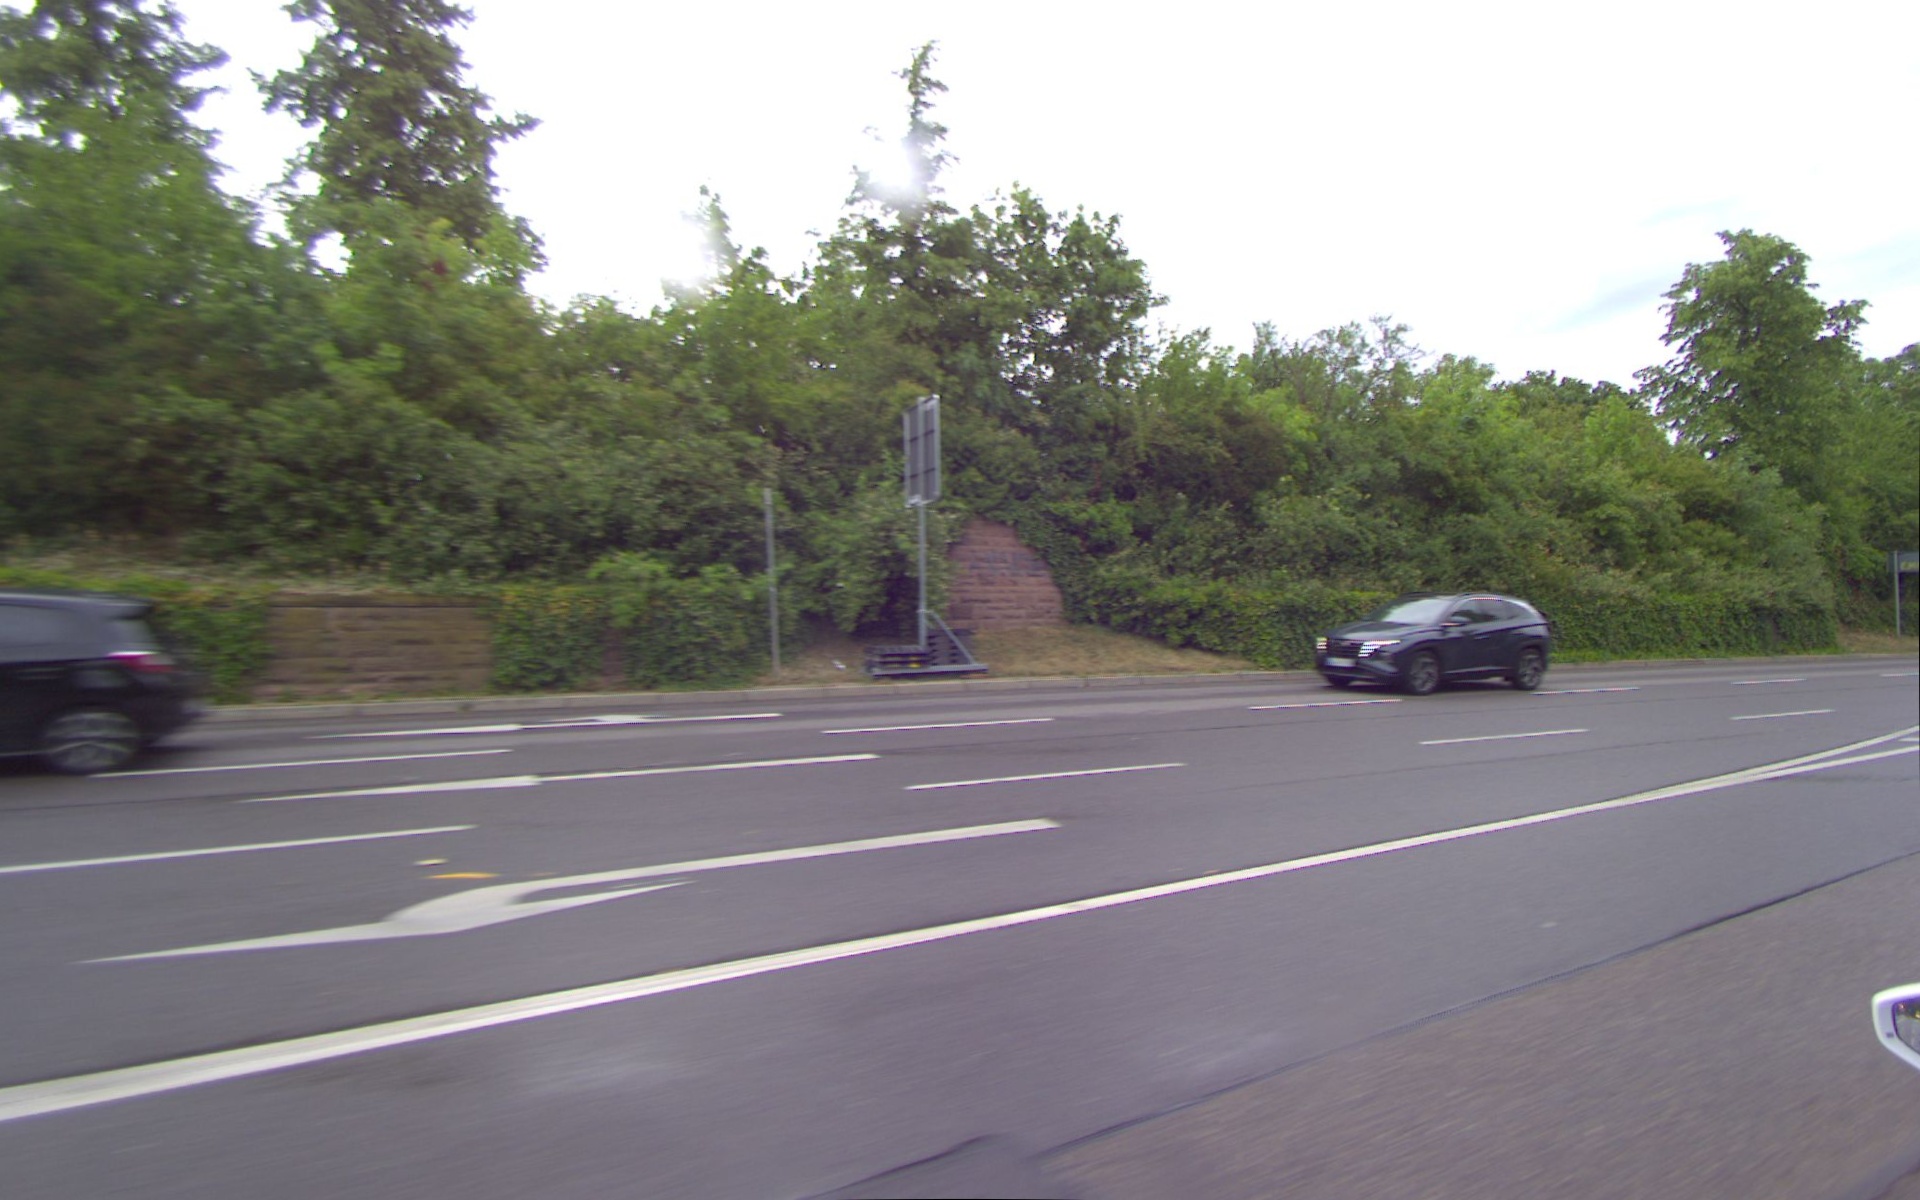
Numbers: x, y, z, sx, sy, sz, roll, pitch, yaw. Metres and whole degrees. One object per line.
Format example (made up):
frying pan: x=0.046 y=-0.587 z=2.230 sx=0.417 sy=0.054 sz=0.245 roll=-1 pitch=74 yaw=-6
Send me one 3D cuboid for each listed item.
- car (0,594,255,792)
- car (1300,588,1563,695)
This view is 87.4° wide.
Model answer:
car: x=-8.152 y=0.704 z=8.123 sx=3.814 sy=1.487 sz=1.667 roll=0 pitch=1 yaw=-29
car: x=8.041 y=0.622 z=17.074 sx=4.372 sy=1.628 sz=1.793 roll=0 pitch=1 yaw=-28
